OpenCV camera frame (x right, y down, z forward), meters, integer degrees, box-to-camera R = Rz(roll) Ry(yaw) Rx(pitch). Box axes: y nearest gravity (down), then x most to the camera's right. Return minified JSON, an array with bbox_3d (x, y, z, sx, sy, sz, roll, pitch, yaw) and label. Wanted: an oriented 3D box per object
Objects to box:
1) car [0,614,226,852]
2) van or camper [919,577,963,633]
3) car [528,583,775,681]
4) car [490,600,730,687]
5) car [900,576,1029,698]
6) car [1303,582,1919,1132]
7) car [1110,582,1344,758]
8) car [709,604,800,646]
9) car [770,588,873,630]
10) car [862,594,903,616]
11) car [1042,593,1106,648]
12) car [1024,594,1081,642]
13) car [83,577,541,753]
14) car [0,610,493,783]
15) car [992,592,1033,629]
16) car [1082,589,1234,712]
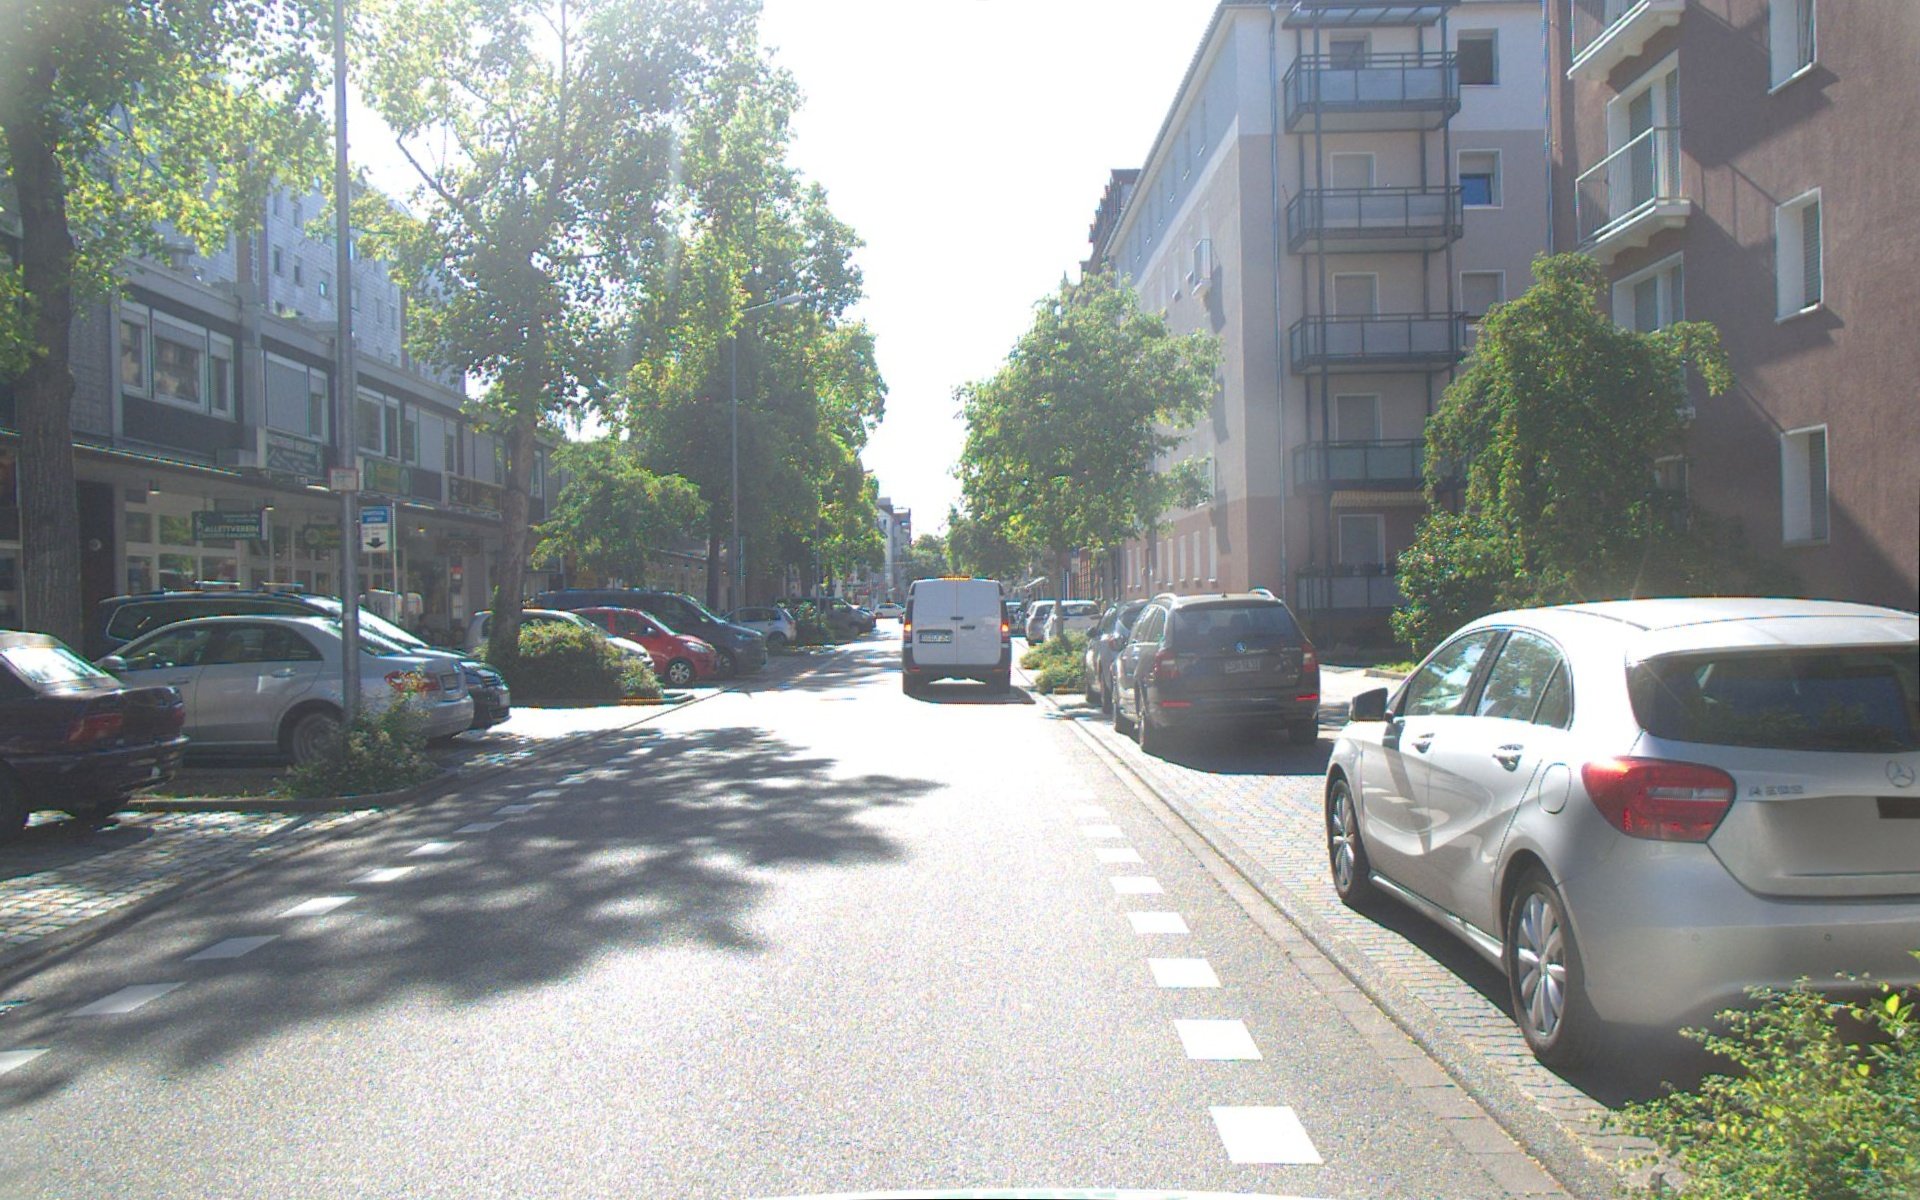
[{"bbox_3d":[-7.497,0.877,11.558,3.948,1.520,1.717,0,0,-1],"label":"car"},{"bbox_3d":[-0.857,0.206,79.597,1.953,2.518,5.820,-2,0,0],"label":"van or camper"},{"bbox_3d":[-6.734,0.693,36.441,5.107,2.016,1.661,-1,0,-1],"label":"car"},{"bbox_3d":[-7.107,0.878,33.854,4.533,1.638,1.661,-1,-1,-1],"label":"car"},{"bbox_3d":[0.044,0.582,29.679,2.058,1.941,5.424,-1,0,-1],"label":"car"},{"bbox_3d":[2.681,0.696,6.632,1.704,1.479,4.155,-1,0,0],"label":"car"},{"bbox_3d":[2.615,0.630,17.151,1.746,1.546,4.309,-1,0,1],"label":"car"},{"bbox_3d":[-7.350,0.887,59.384,3.036,1.433,1.661,-1,0,-1],"label":"car"},{"bbox_3d":[-7.029,0.443,84.365,5.107,2.016,1.661,-1,0,-1],"label":"car"},{"bbox_3d":[-7.632,0.492,162.236,3.909,2.049,1.998,-2,0,-4],"label":"car"},{"bbox_3d":[3.411,0.586,50.072,1.704,1.546,3.858,-1,0,1],"label":"car"},{"bbox_3d":[3.089,0.583,55.799,1.704,1.546,3.858,-1,0,1],"label":"car"},{"bbox_3d":[-7.349,0.710,19.103,4.533,1.836,1.837,-1,0,-1],"label":"car"},{"bbox_3d":[-7.195,0.913,16.434,4.561,1.520,1.827,-1,0,-1],"label":"car"},{"bbox_3d":[2.323,0.462,73.614,1.704,1.546,3.858,-1,0,1],"label":"car"},{"bbox_3d":[2.708,0.656,23.416,1.704,1.546,3.858,-1,0,1],"label":"car"}]
